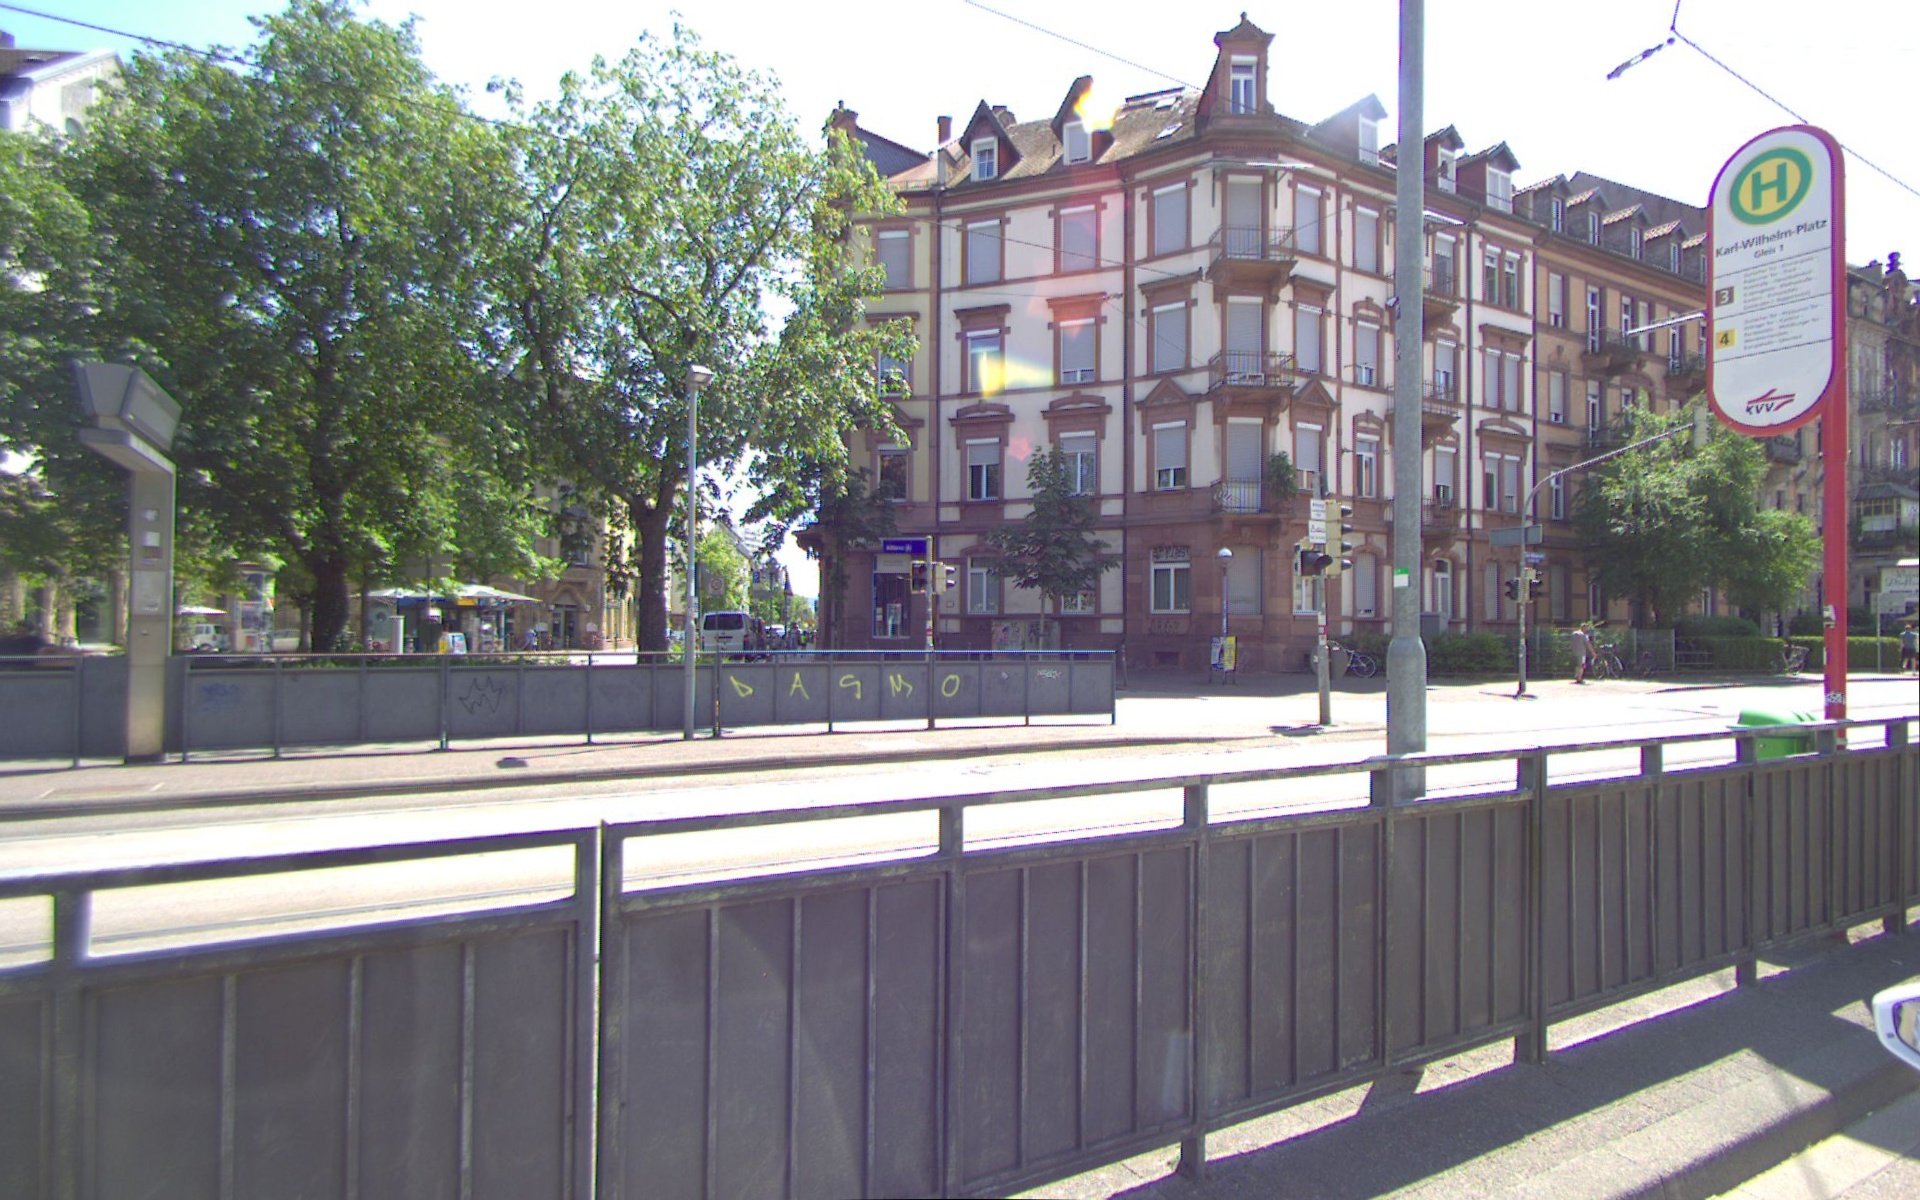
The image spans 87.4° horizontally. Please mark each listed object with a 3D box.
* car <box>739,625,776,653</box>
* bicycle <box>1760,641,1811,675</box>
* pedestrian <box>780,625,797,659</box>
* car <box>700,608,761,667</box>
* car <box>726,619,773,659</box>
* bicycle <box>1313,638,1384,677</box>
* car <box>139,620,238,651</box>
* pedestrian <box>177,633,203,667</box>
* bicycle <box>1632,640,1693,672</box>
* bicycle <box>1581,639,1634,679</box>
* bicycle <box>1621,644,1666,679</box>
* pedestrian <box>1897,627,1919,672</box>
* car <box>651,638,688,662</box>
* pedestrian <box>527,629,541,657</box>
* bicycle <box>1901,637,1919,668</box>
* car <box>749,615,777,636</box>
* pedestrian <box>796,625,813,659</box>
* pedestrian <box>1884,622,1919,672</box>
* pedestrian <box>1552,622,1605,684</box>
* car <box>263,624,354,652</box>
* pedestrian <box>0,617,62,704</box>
[{"bbox_3d":[-11.947,2.264,59.491,1.964,1.584,4.582,1,-2,-10],"label":"car"},{"bbox_3d":[28.377,1.971,34.521,1.906,1.108,0.636,1,0,-27],"label":"bicycle"},{"bbox_3d":[-8.278,2.020,48.462,0.729,1.625,0.761,1,-1,-6],"label":"pedestrian"},{"bbox_3d":[-8.716,1.426,38.504,1.964,2.094,4.582,1,-2,-10],"label":"car"},{"bbox_3d":[-10.084,1.849,48.386,1.964,1.833,4.582,1,-2,-10],"label":"car"},{"bbox_3d":[11.466,1.692,29.695,1.885,1.122,0.467,0,-1,9],"label":"bicycle"},{"bbox_3d":[-43.165,1.988,56.262,3.928,1.720,1.808,1,-2,-10],"label":"car"},{"bbox_3d":[-31.311,2.044,40.843,0.594,1.367,0.700,0,-2,-18],"label":"pedestrian"},{"bbox_3d":[23.492,1.854,33.631,0.489,1.009,1.640,1,-2,-27],"label":"bicycle"},{"bbox_3d":[19.624,1.787,30.451,1.693,1.184,0.571,1,-2,-27],"label":"bicycle"},{"bbox_3d":[21.460,1.911,31.527,1.544,1.070,0.458,1,-2,-27],"label":"bicycle"},{"bbox_3d":[36.996,1.907,38.766,0.807,1.723,0.912,0,-1,4],"label":"pedestrian"},{"bbox_3d":[-20.517,3.498,71.135,1.964,1.584,4.582,1,-2,-10],"label":"car"},{"bbox_3d":[-24.275,2.460,57.233,0.539,1.577,0.501,0,-1,16],"label":"pedestrian"},{"bbox_3d":[40.889,2.239,42.236,0.562,1.244,1.860,1,0,-31],"label":"bicycle"},{"bbox_3d":[-15.280,1.983,77.977,1.964,1.584,4.582,1,-2,-10],"label":"car"},{"bbox_3d":[-7.510,2.023,48.512,0.729,1.625,0.761,1,-1,-6],"label":"pedestrian"},{"bbox_3d":[36.088,1.803,38.434,0.800,1.881,0.878,0,-1,21],"label":"pedestrian"},{"bbox_3d":[17.772,1.508,28.861,0.999,1.723,0.870,1,-1,-23],"label":"pedestrian"},{"bbox_3d":[-36.935,2.144,57.029,3.928,1.520,1.691,1,-2,-10],"label":"car"},{"bbox_3d":[-14.853,0.948,15.931,0.643,1.334,0.819,1,-2,-23],"label":"pedestrian"}]
